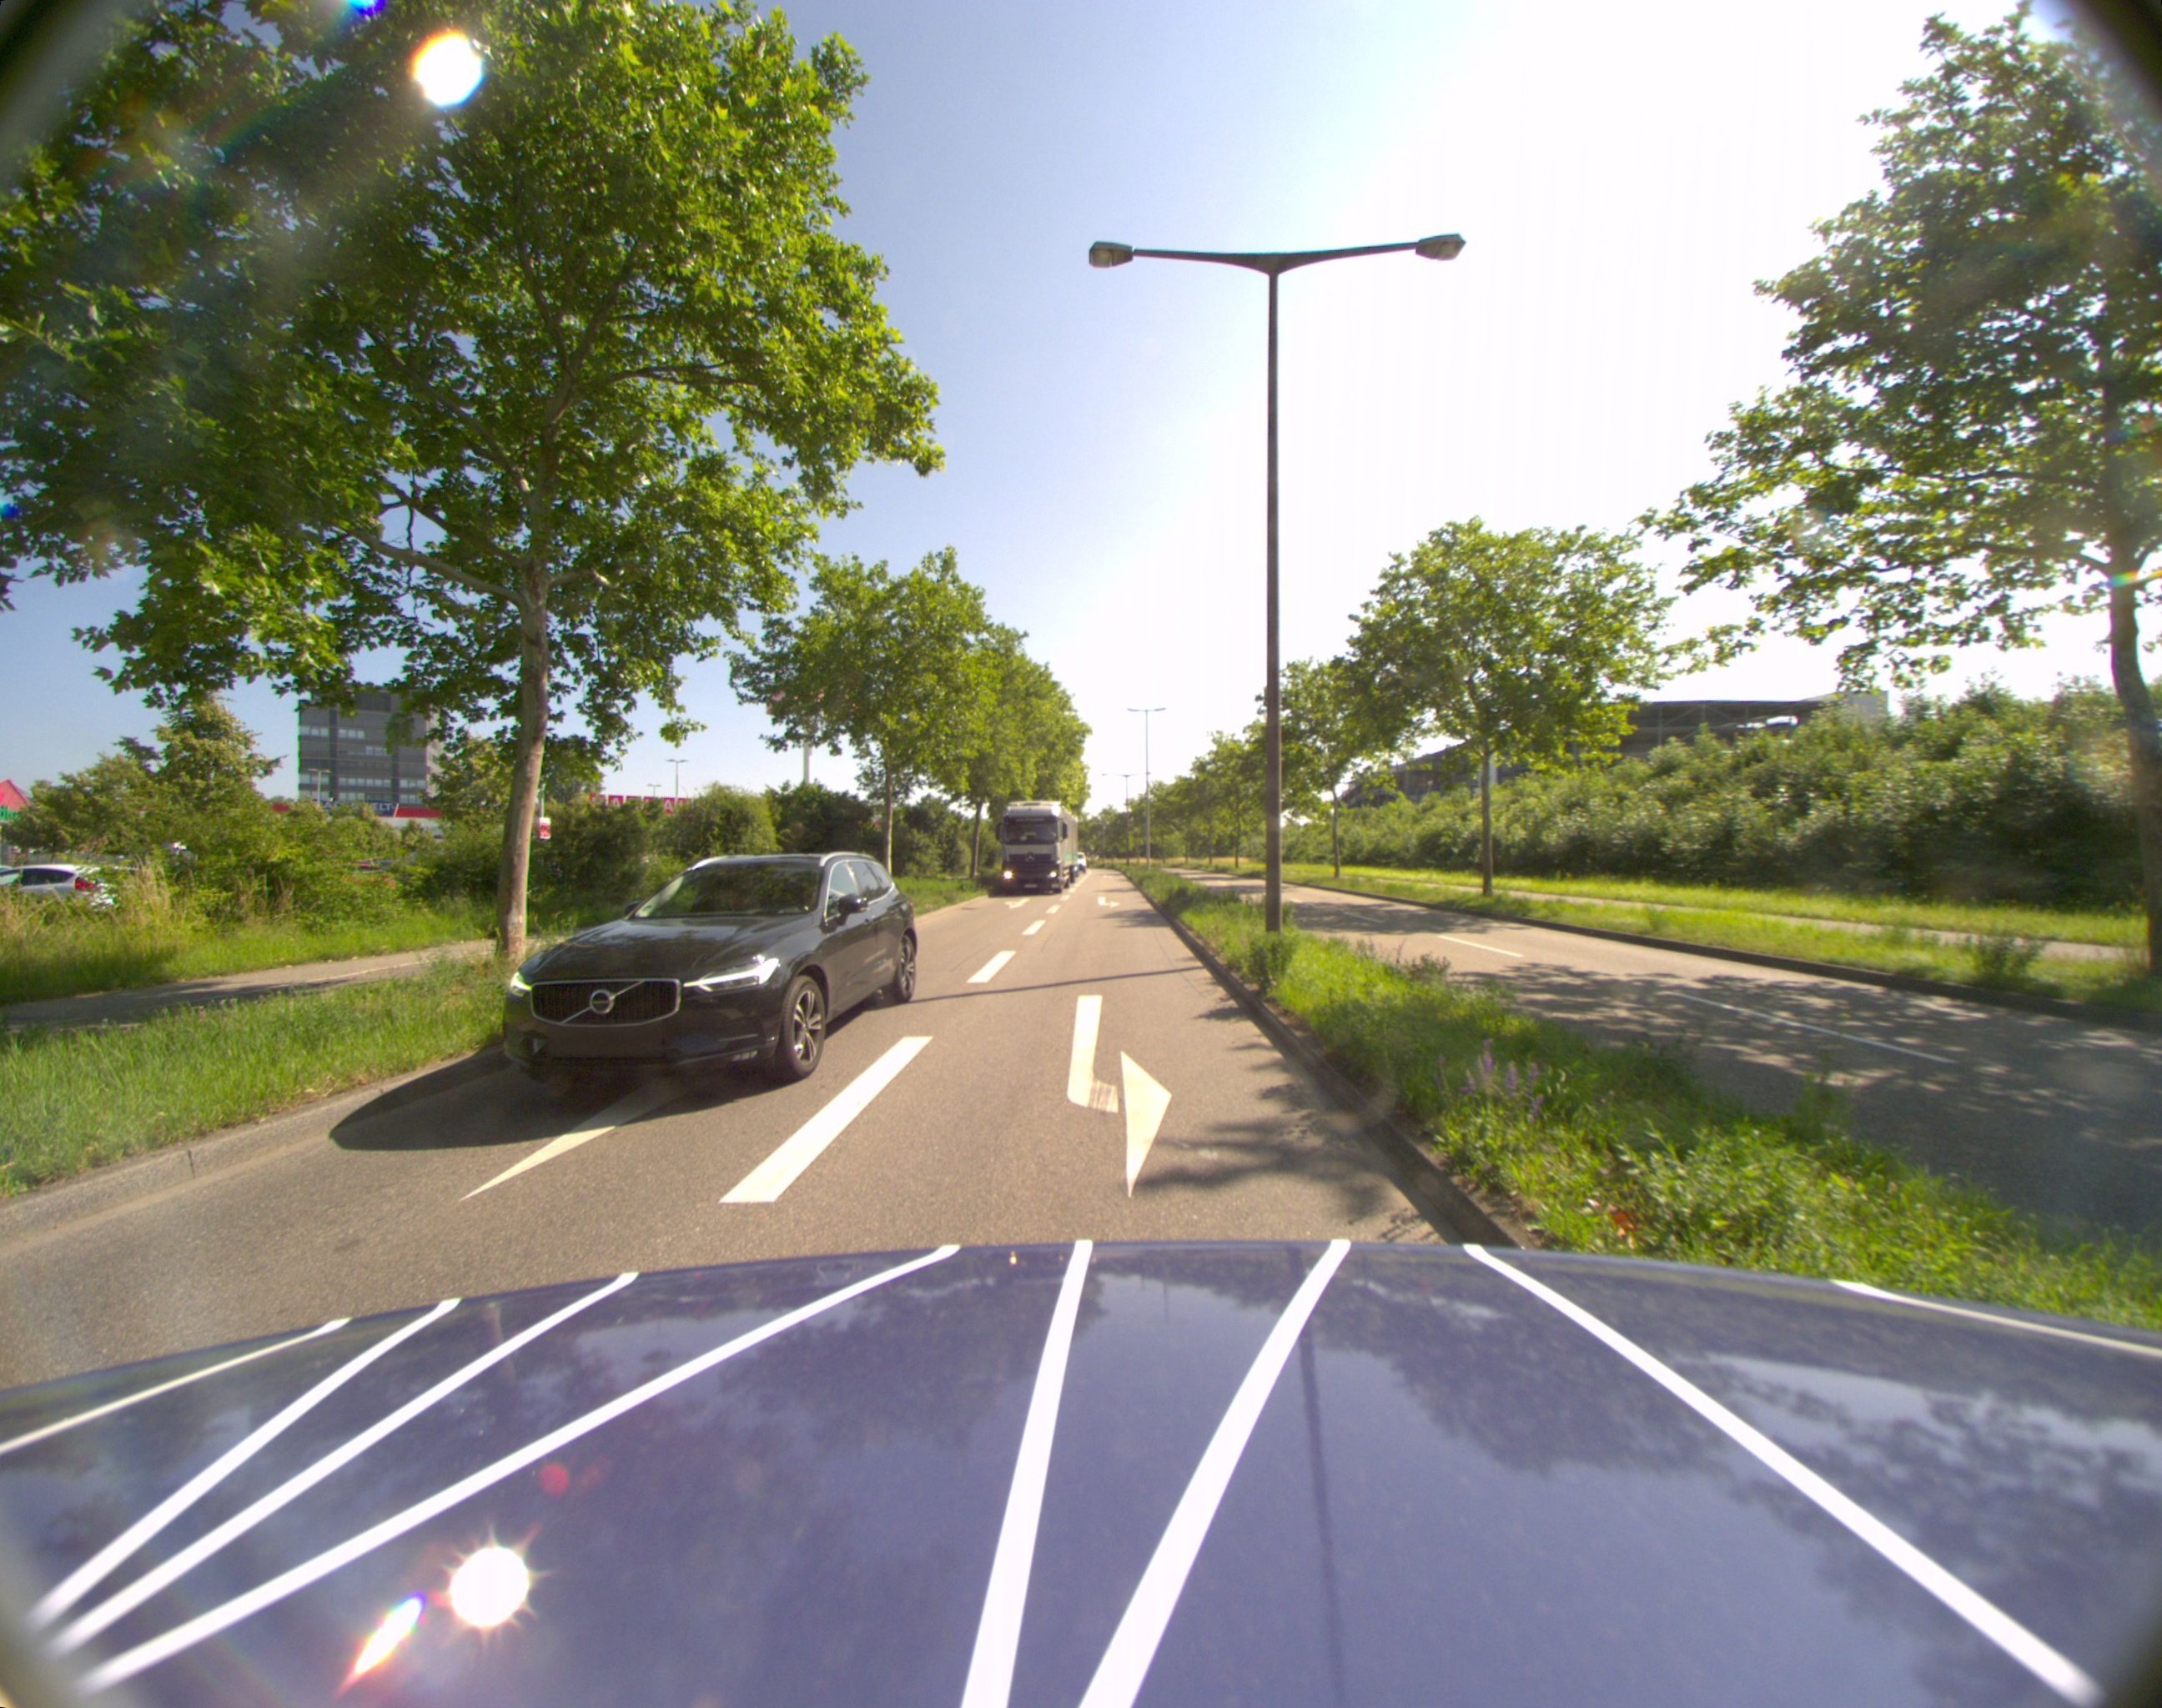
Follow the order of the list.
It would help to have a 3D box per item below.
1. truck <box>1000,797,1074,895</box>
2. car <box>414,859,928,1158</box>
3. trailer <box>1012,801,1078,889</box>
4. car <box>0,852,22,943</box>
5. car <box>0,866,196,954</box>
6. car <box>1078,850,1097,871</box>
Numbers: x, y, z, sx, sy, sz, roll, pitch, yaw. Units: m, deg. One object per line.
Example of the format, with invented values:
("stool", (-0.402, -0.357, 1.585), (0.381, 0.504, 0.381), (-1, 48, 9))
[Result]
("truck", (-1.793, -0.339, 33.542), (2.741, 3.872, 5.851), (-1, 1, 1))
("car", (-2.813, 0.912, 6.649), (1.924, 1.613, 4.564), (-1, 1, 1))
("trailer", (-1.679, -0.464, 40.878), (2.805, 4.023, 10.796), (-1, 1, 1))
("car", (-21.806, 0.850, 13.398), (3.558, 1.686, 1.718), (-1, 1, -4))
("car", (-21.869, 1.169, 16.287), (3.558, 1.686, 1.718), (-1, 1, -4))
("car", (0.585, 0.577, 70.658), (1.691, 1.893, 4.000), (-1, 1, 1))
